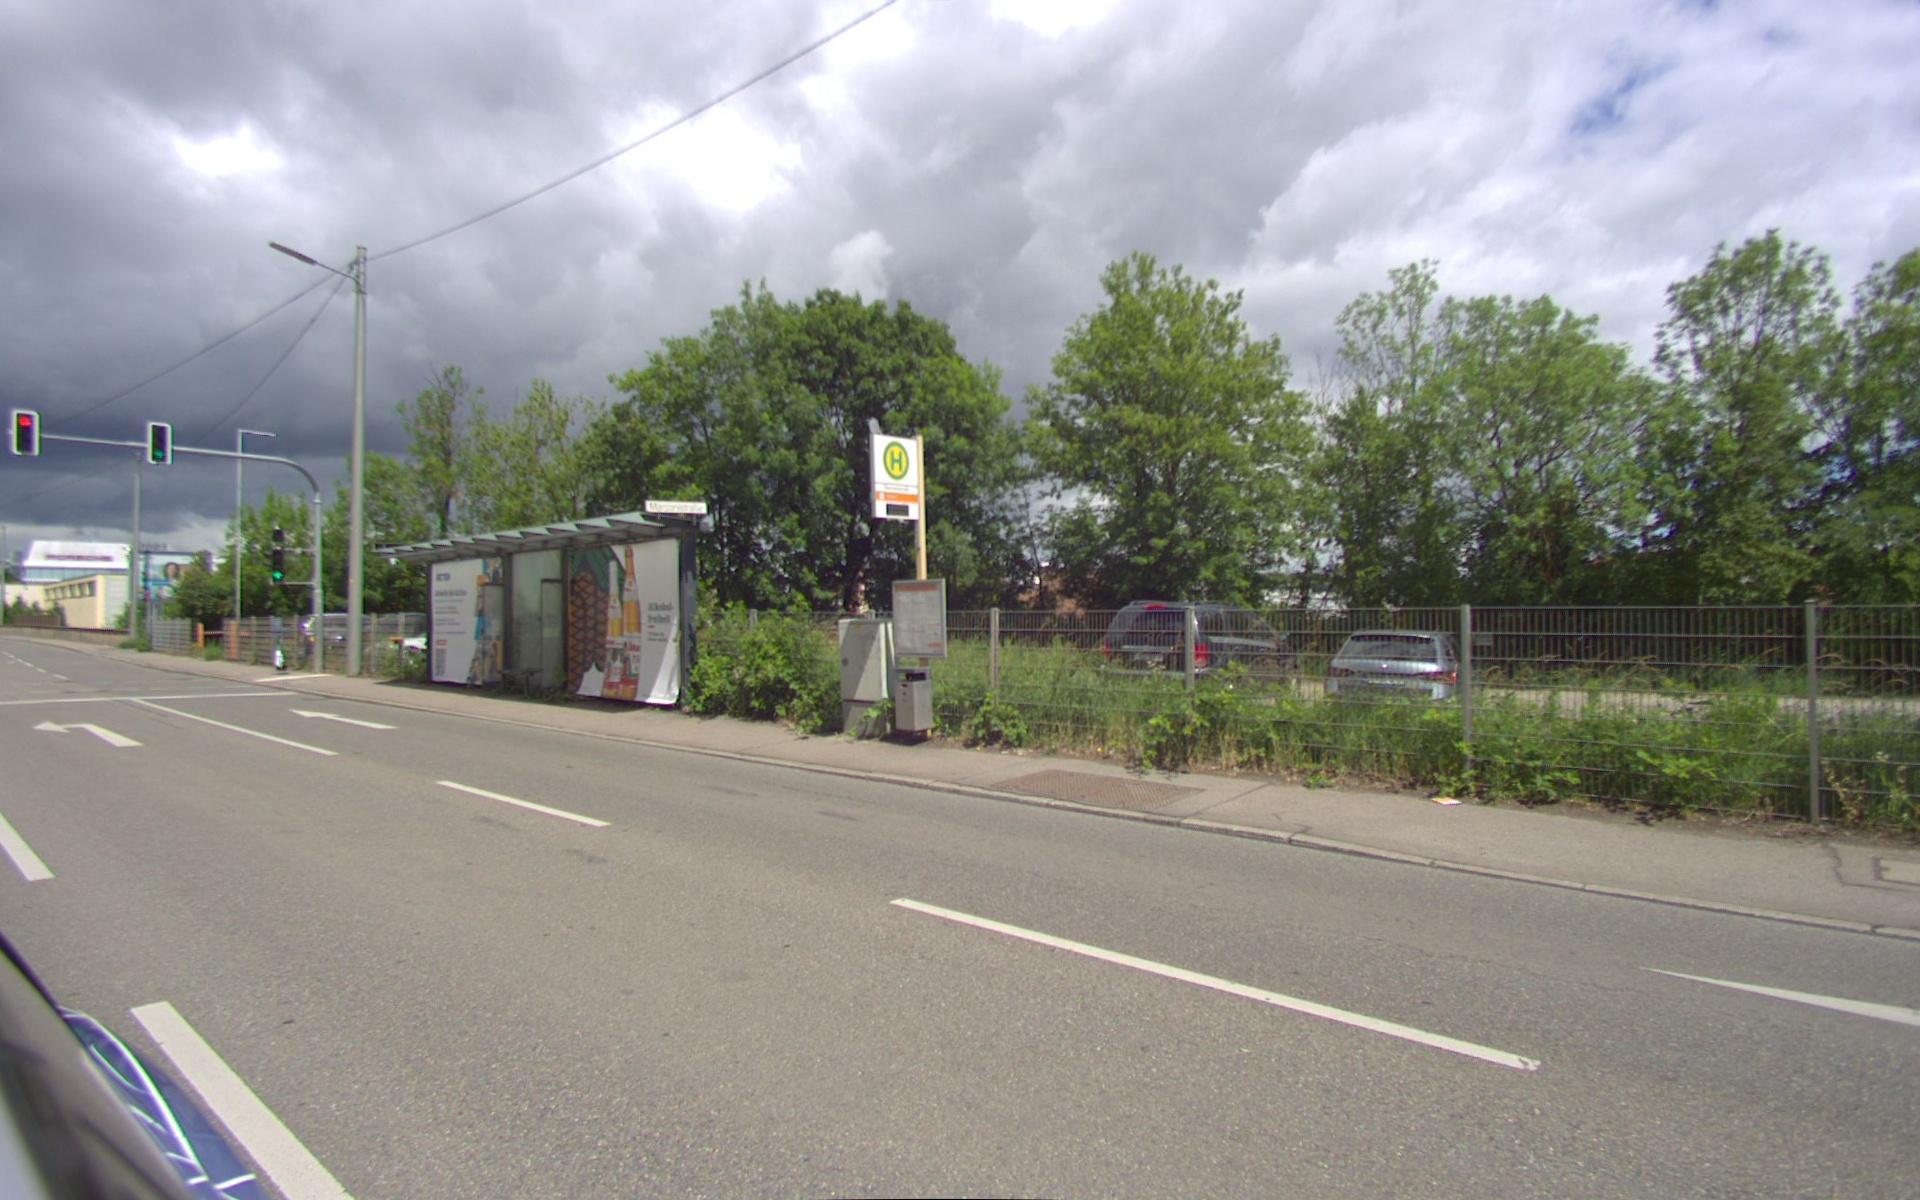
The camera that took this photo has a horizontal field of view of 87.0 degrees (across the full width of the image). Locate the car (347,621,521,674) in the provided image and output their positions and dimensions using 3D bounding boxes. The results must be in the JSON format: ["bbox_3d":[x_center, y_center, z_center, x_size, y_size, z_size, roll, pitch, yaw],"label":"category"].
[{"bbox_3d":[-15.098,1.317,29.186,1.915,1.430,4.059,-1,-2,41],"label":"car"}]

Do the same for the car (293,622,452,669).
[{"bbox_3d":[-19.006,1.430,32.867,1.999,1.430,4.060,-1,-2,40],"label":"car"}]

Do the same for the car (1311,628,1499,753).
[{"bbox_3d":[6.639,1.177,14.819,1.905,1.498,4.242,0,-1,33],"label":"car"}]

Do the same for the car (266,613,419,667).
[{"bbox_3d":[-21.274,1.356,34.980,1.996,1.748,4.065,-1,-2,37],"label":"car"}]

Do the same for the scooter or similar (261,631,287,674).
[{"bbox_3d":[-20.220,1.543,29.824,0.419,1.220,1.127,-1,0,-44],"label":"scooter or similar"}]

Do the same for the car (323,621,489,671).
[{"bbox_3d":[-17.101,1.385,31.391,1.997,1.430,4.063,-1,-2,38],"label":"car"}]

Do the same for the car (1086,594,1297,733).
[{"bbox_3d":[4.035,0.967,17.119,2.135,2.029,4.241,0,-1,34],"label":"car"}]

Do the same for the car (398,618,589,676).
[{"bbox_3d":[-12.569,1.224,27.464,2.024,1.430,4.264,-1,-2,42],"label":"car"}]

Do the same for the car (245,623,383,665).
[{"bbox_3d":[-23.395,1.543,36.768,1.897,1.430,3.822,-1,-2,32],"label":"car"}]
